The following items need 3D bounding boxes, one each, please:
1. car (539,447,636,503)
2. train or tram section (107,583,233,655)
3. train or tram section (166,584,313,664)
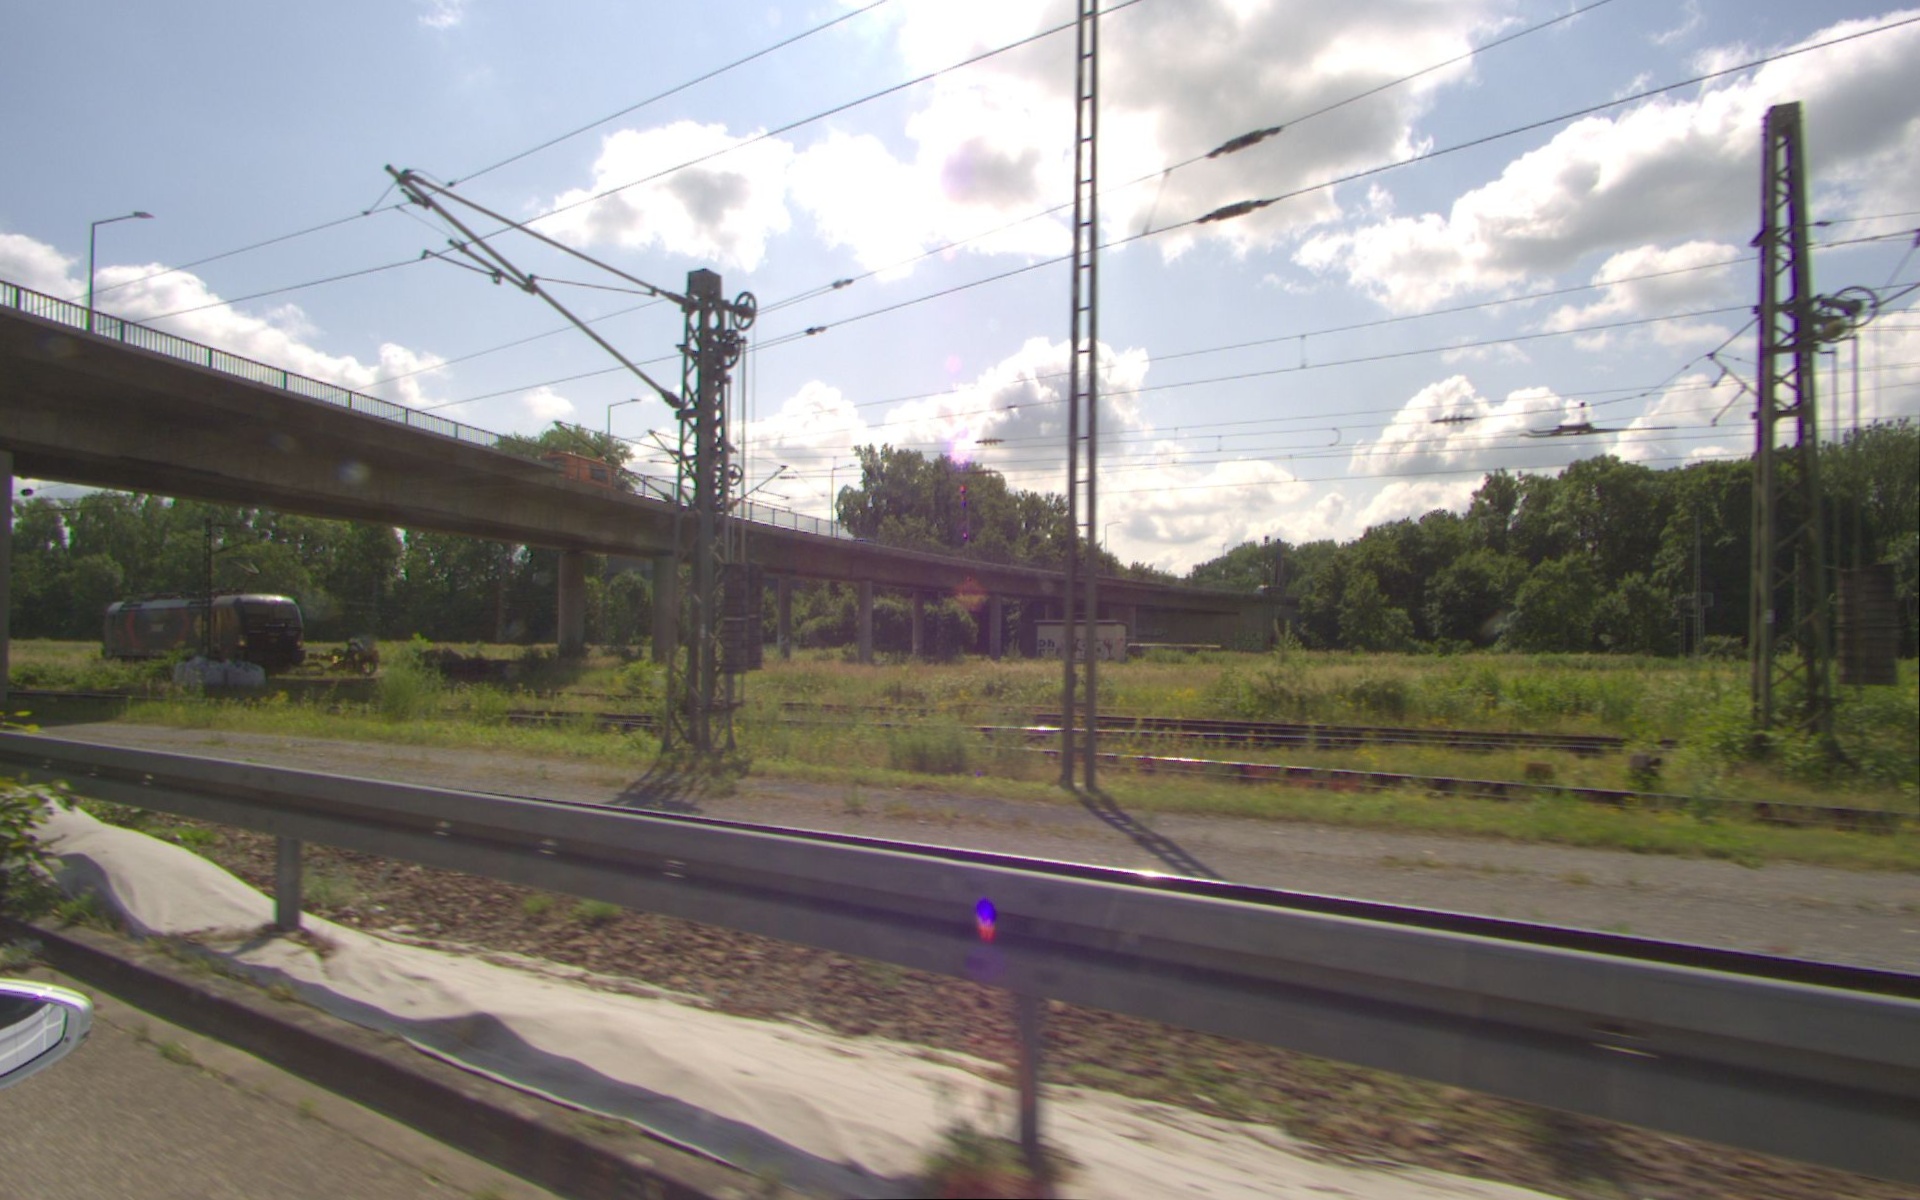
[{"bbox_3d":[-18.839,-6.274,50.930,1.963,2.040,5.333,-2,-1,13],"label":"car"},{"bbox_3d":[-41.573,1.063,52.628,8.125,3.521,2.750,-1,-2,33],"label":"train or tram section"},{"bbox_3d":[-34.628,1.211,48.031,8.446,3.553,2.885,-1,-2,33],"label":"train or tram section"}]
